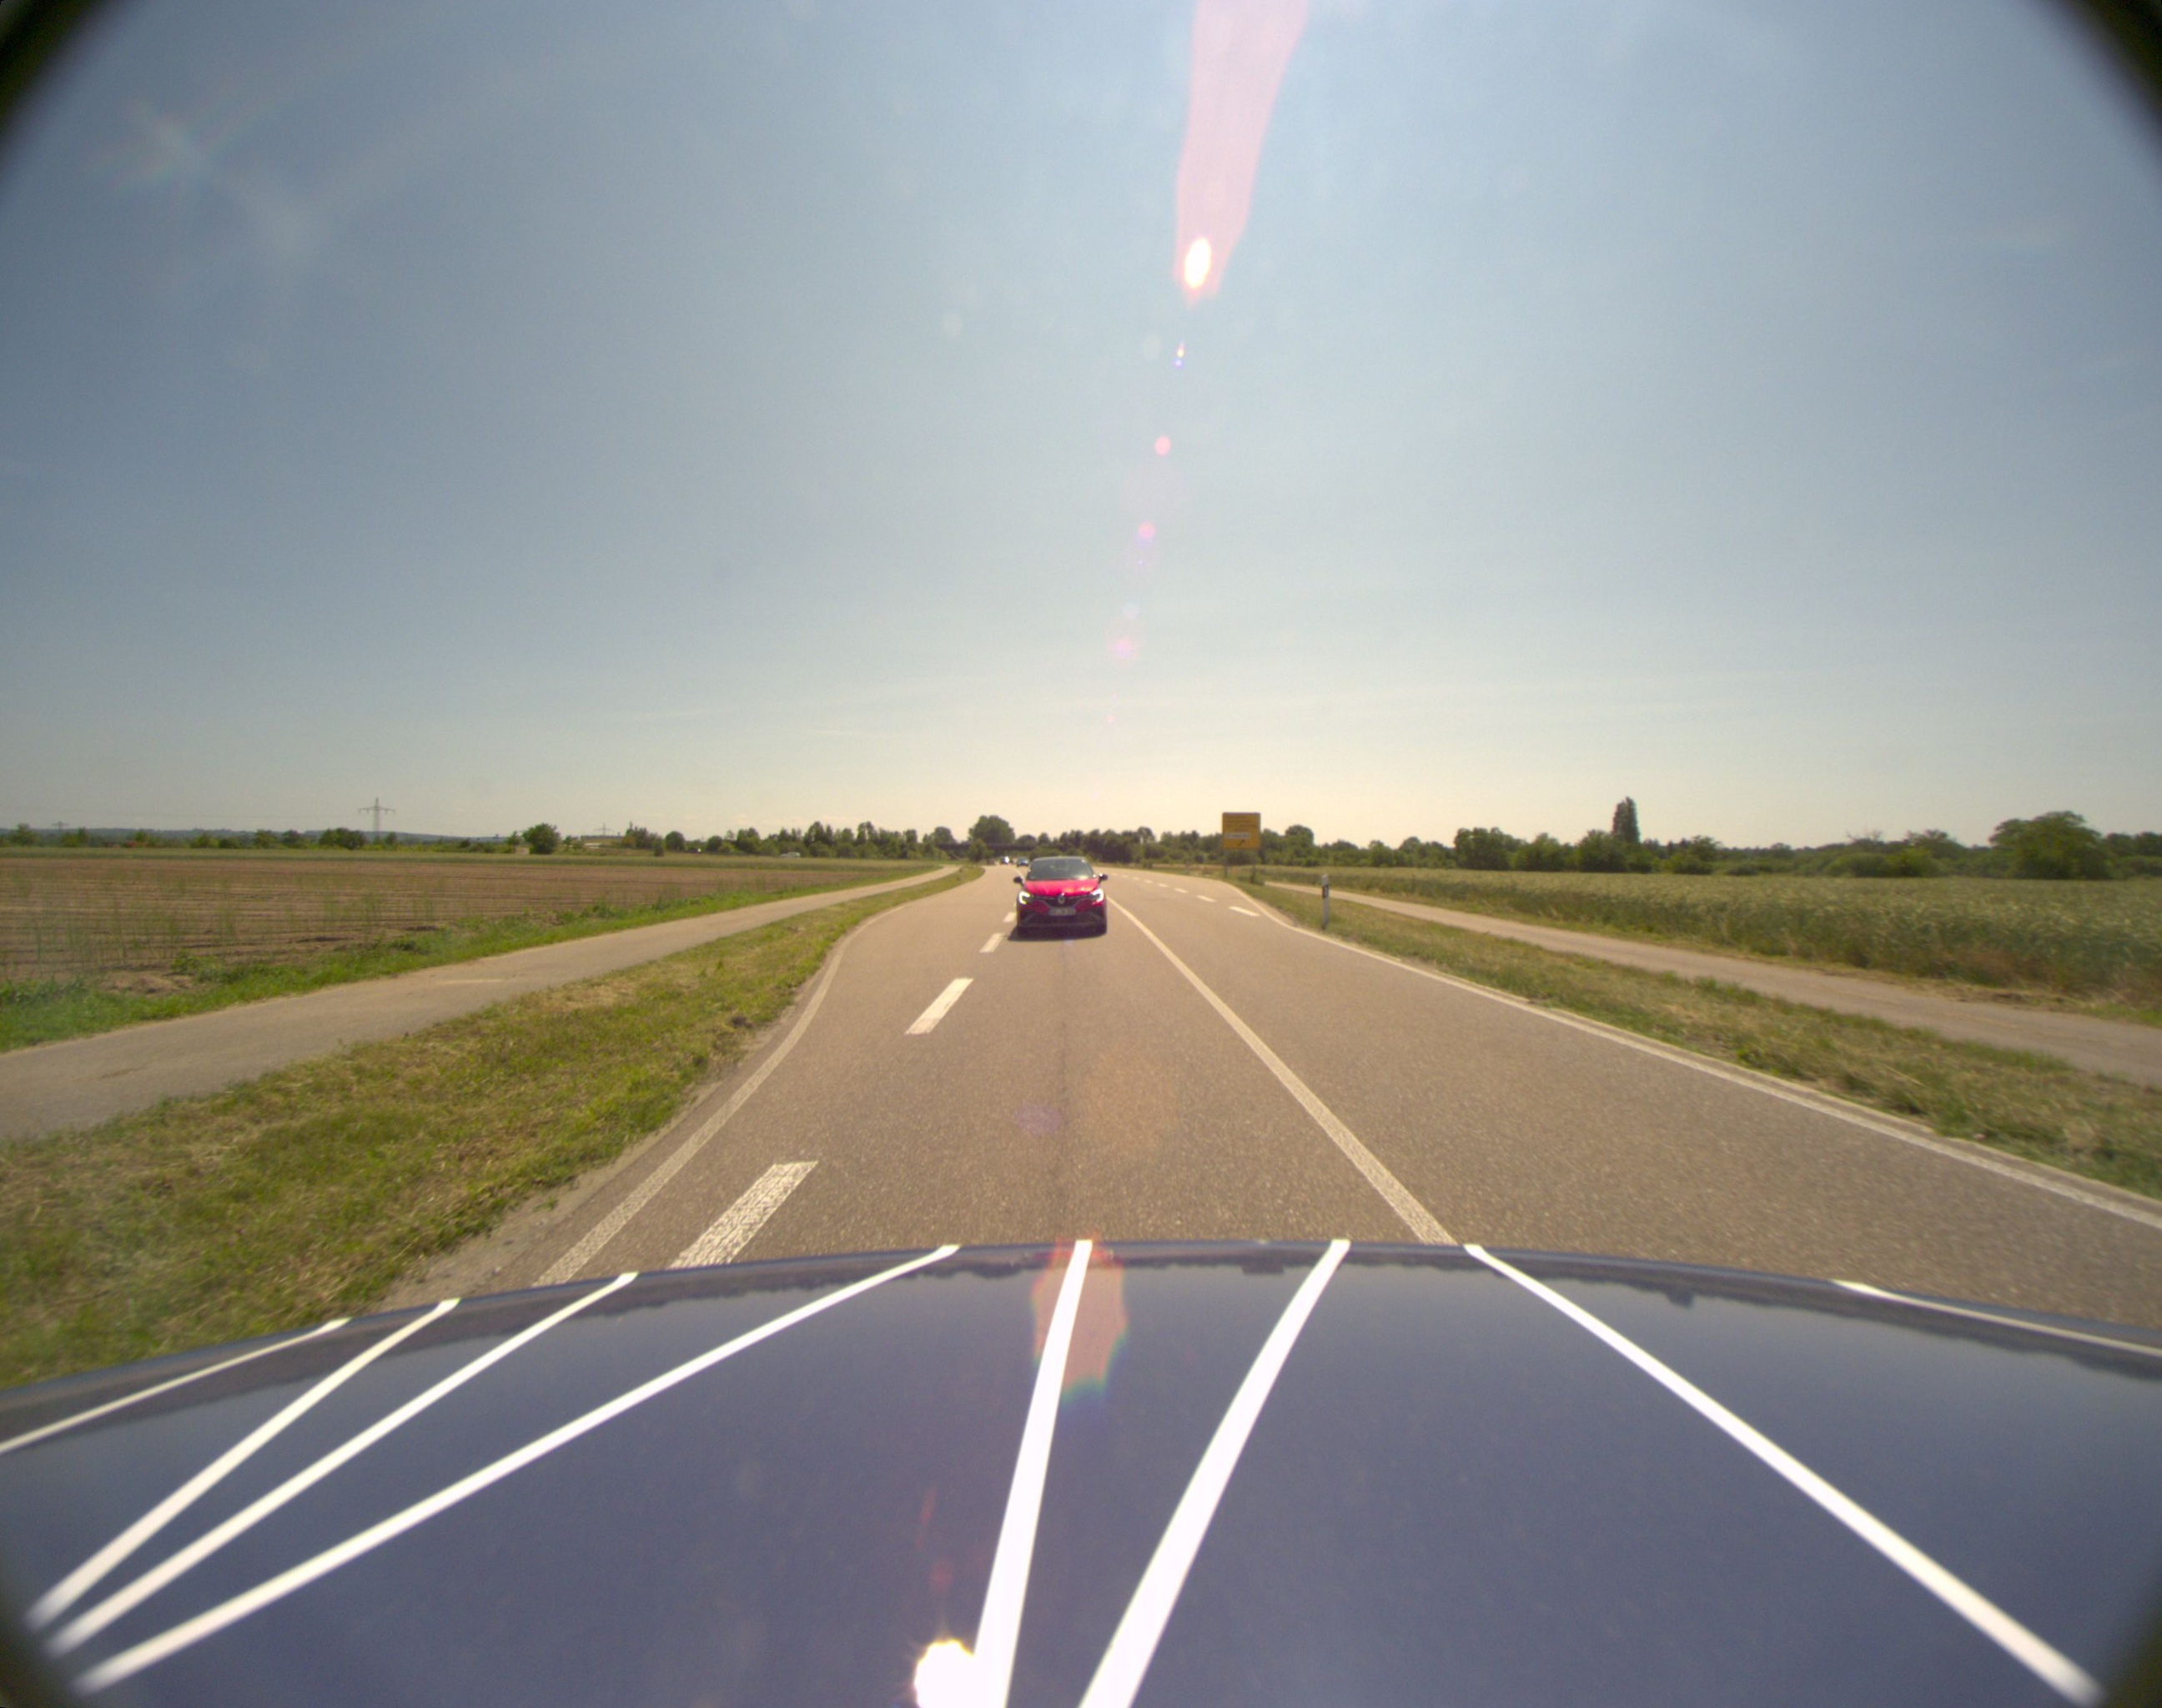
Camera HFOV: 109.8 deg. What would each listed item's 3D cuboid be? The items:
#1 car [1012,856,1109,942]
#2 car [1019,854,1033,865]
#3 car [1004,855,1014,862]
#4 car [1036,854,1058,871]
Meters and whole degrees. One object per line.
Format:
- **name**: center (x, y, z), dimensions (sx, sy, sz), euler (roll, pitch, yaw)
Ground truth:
- **car**: center (-0.332, 0.876, 16.905), dimensions (1.837, 1.587, 4.722), euler (-1, 0, 1)
- **car**: center (-8.809, 0.840, 121.763), dimensions (1.984, 1.587, 5.399), euler (-1, 0, -6)
- **car**: center (-16.257, 0.954, 171.206), dimensions (1.984, 1.587, 5.398), euler (-1, 0, -8)
- **car**: center (-3.243, 0.786, 73.376), dimensions (1.983, 1.587, 5.401), euler (-1, 0, -1)
